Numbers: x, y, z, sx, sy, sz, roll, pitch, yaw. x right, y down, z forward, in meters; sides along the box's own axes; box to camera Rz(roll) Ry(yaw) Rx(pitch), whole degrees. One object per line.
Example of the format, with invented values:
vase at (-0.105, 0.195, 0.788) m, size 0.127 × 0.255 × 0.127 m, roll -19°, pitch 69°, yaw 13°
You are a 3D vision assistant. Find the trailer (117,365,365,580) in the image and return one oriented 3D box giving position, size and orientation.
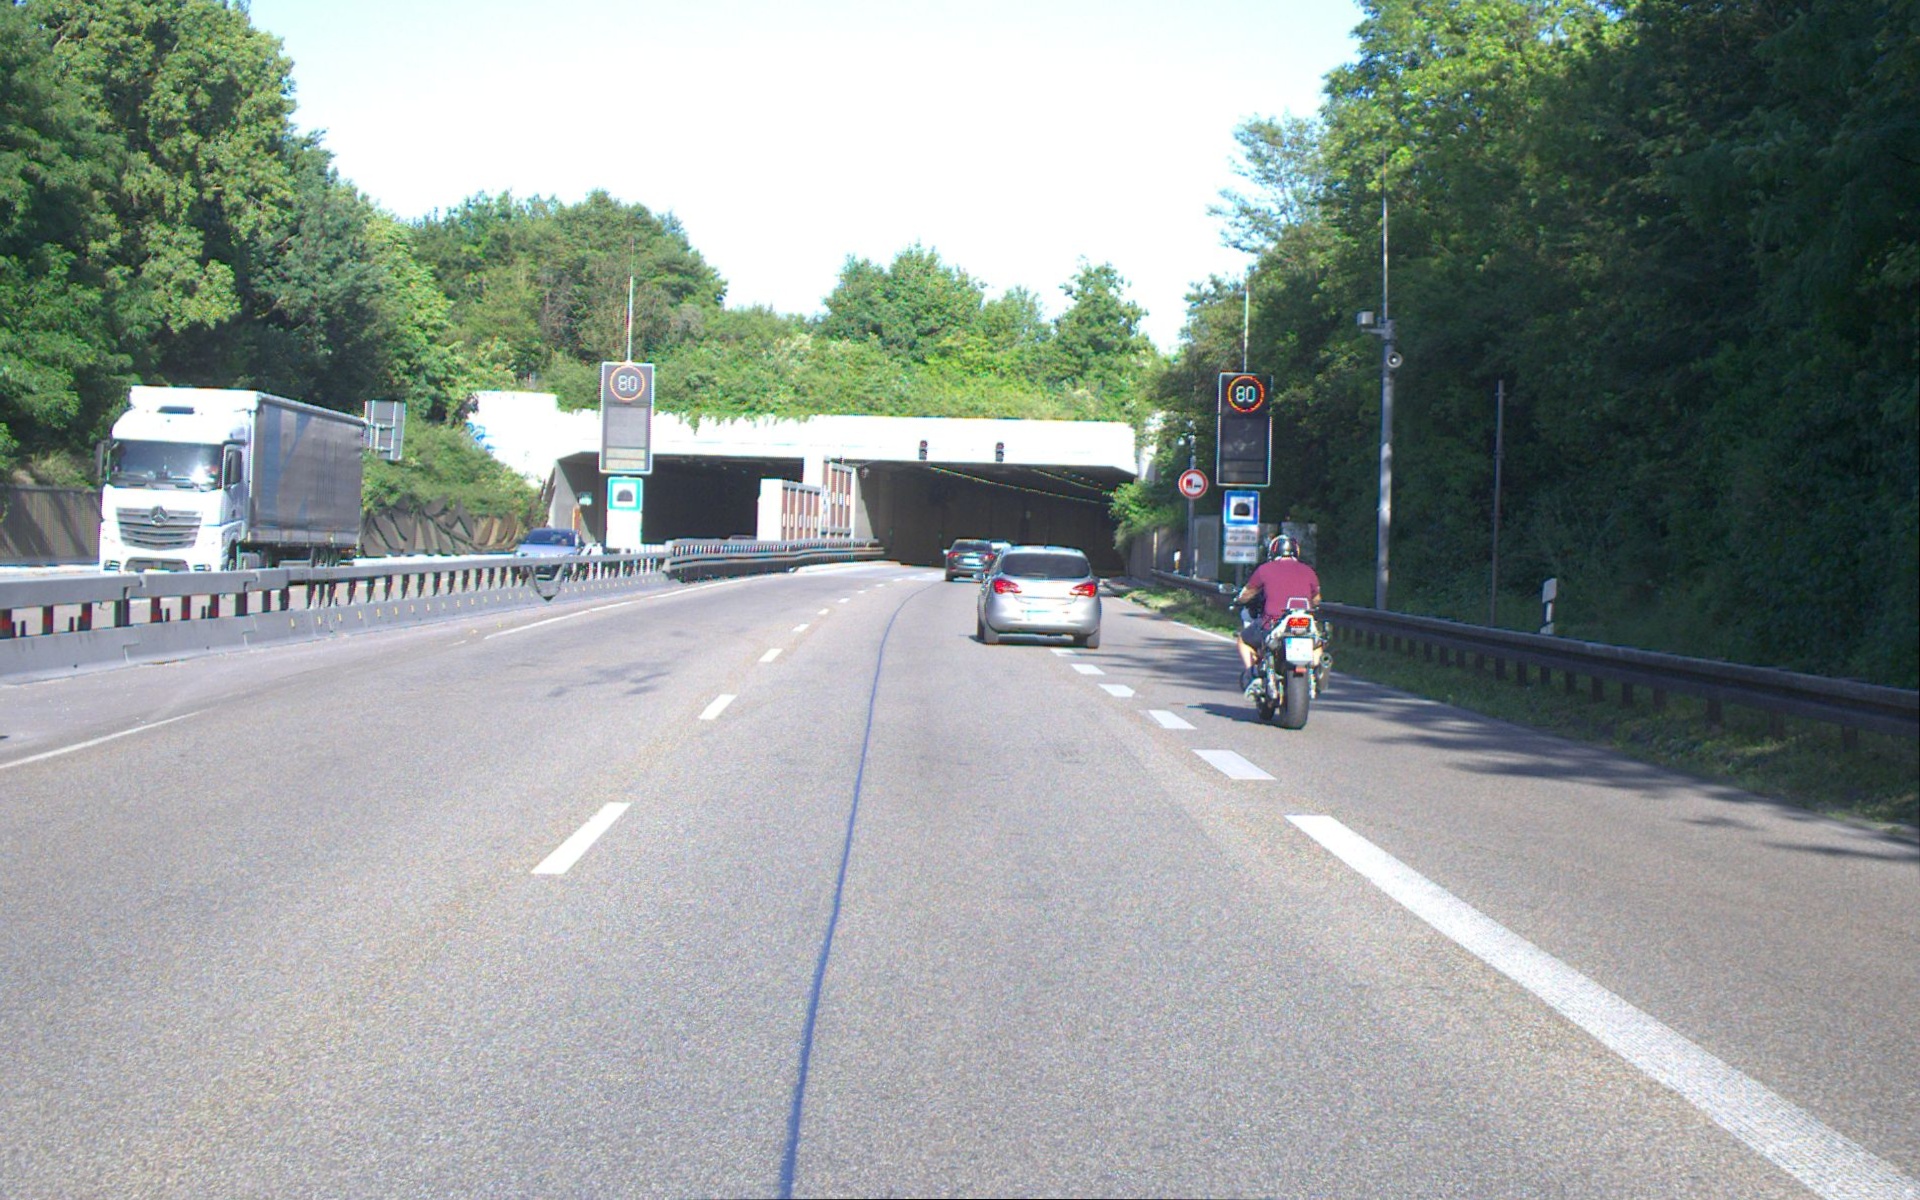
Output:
trailer at (-16.049, -2.886, 77.952) m, size 2.747 × 4.265 × 14.087 m, roll 3°, pitch 2°, yaw -1°

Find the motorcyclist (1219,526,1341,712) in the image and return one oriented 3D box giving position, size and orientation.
motorcyclist at (2.726, 0.146, 29.413) m, size 0.883 × 1.496 × 1.063 m, roll 4°, pitch 2°, yaw 2°

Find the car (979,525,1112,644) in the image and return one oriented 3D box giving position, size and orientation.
car at (1.233, -0.268, 51.152) m, size 1.667 × 1.546 × 4.001 m, roll 3°, pitch 2°, yaw -2°

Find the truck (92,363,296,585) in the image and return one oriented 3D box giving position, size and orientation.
truck at (-15.879, -2.619, 71.650) m, size 2.735 × 4.246 × 6.388 m, roll 3°, pitch 2°, yaw -1°

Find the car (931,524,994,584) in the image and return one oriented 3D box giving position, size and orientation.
car at (0.084, -1.622, 119.541) m, size 1.993 × 1.919 × 4.001 m, roll 2°, pitch 2°, yaw -2°

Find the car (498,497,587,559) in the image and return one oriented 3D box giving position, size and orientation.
car at (-12.504, -2.189, 103.287) m, size 1.993 × 1.652 × 4.939 m, roll 3°, pitch 2°, yaw 0°

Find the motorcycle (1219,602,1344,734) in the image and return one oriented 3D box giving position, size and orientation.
motorcycle at (2.714, 0.554, 29.302) m, size 0.858 × 0.988 × 2.728 m, roll 3°, pitch 1°, yaw 2°
